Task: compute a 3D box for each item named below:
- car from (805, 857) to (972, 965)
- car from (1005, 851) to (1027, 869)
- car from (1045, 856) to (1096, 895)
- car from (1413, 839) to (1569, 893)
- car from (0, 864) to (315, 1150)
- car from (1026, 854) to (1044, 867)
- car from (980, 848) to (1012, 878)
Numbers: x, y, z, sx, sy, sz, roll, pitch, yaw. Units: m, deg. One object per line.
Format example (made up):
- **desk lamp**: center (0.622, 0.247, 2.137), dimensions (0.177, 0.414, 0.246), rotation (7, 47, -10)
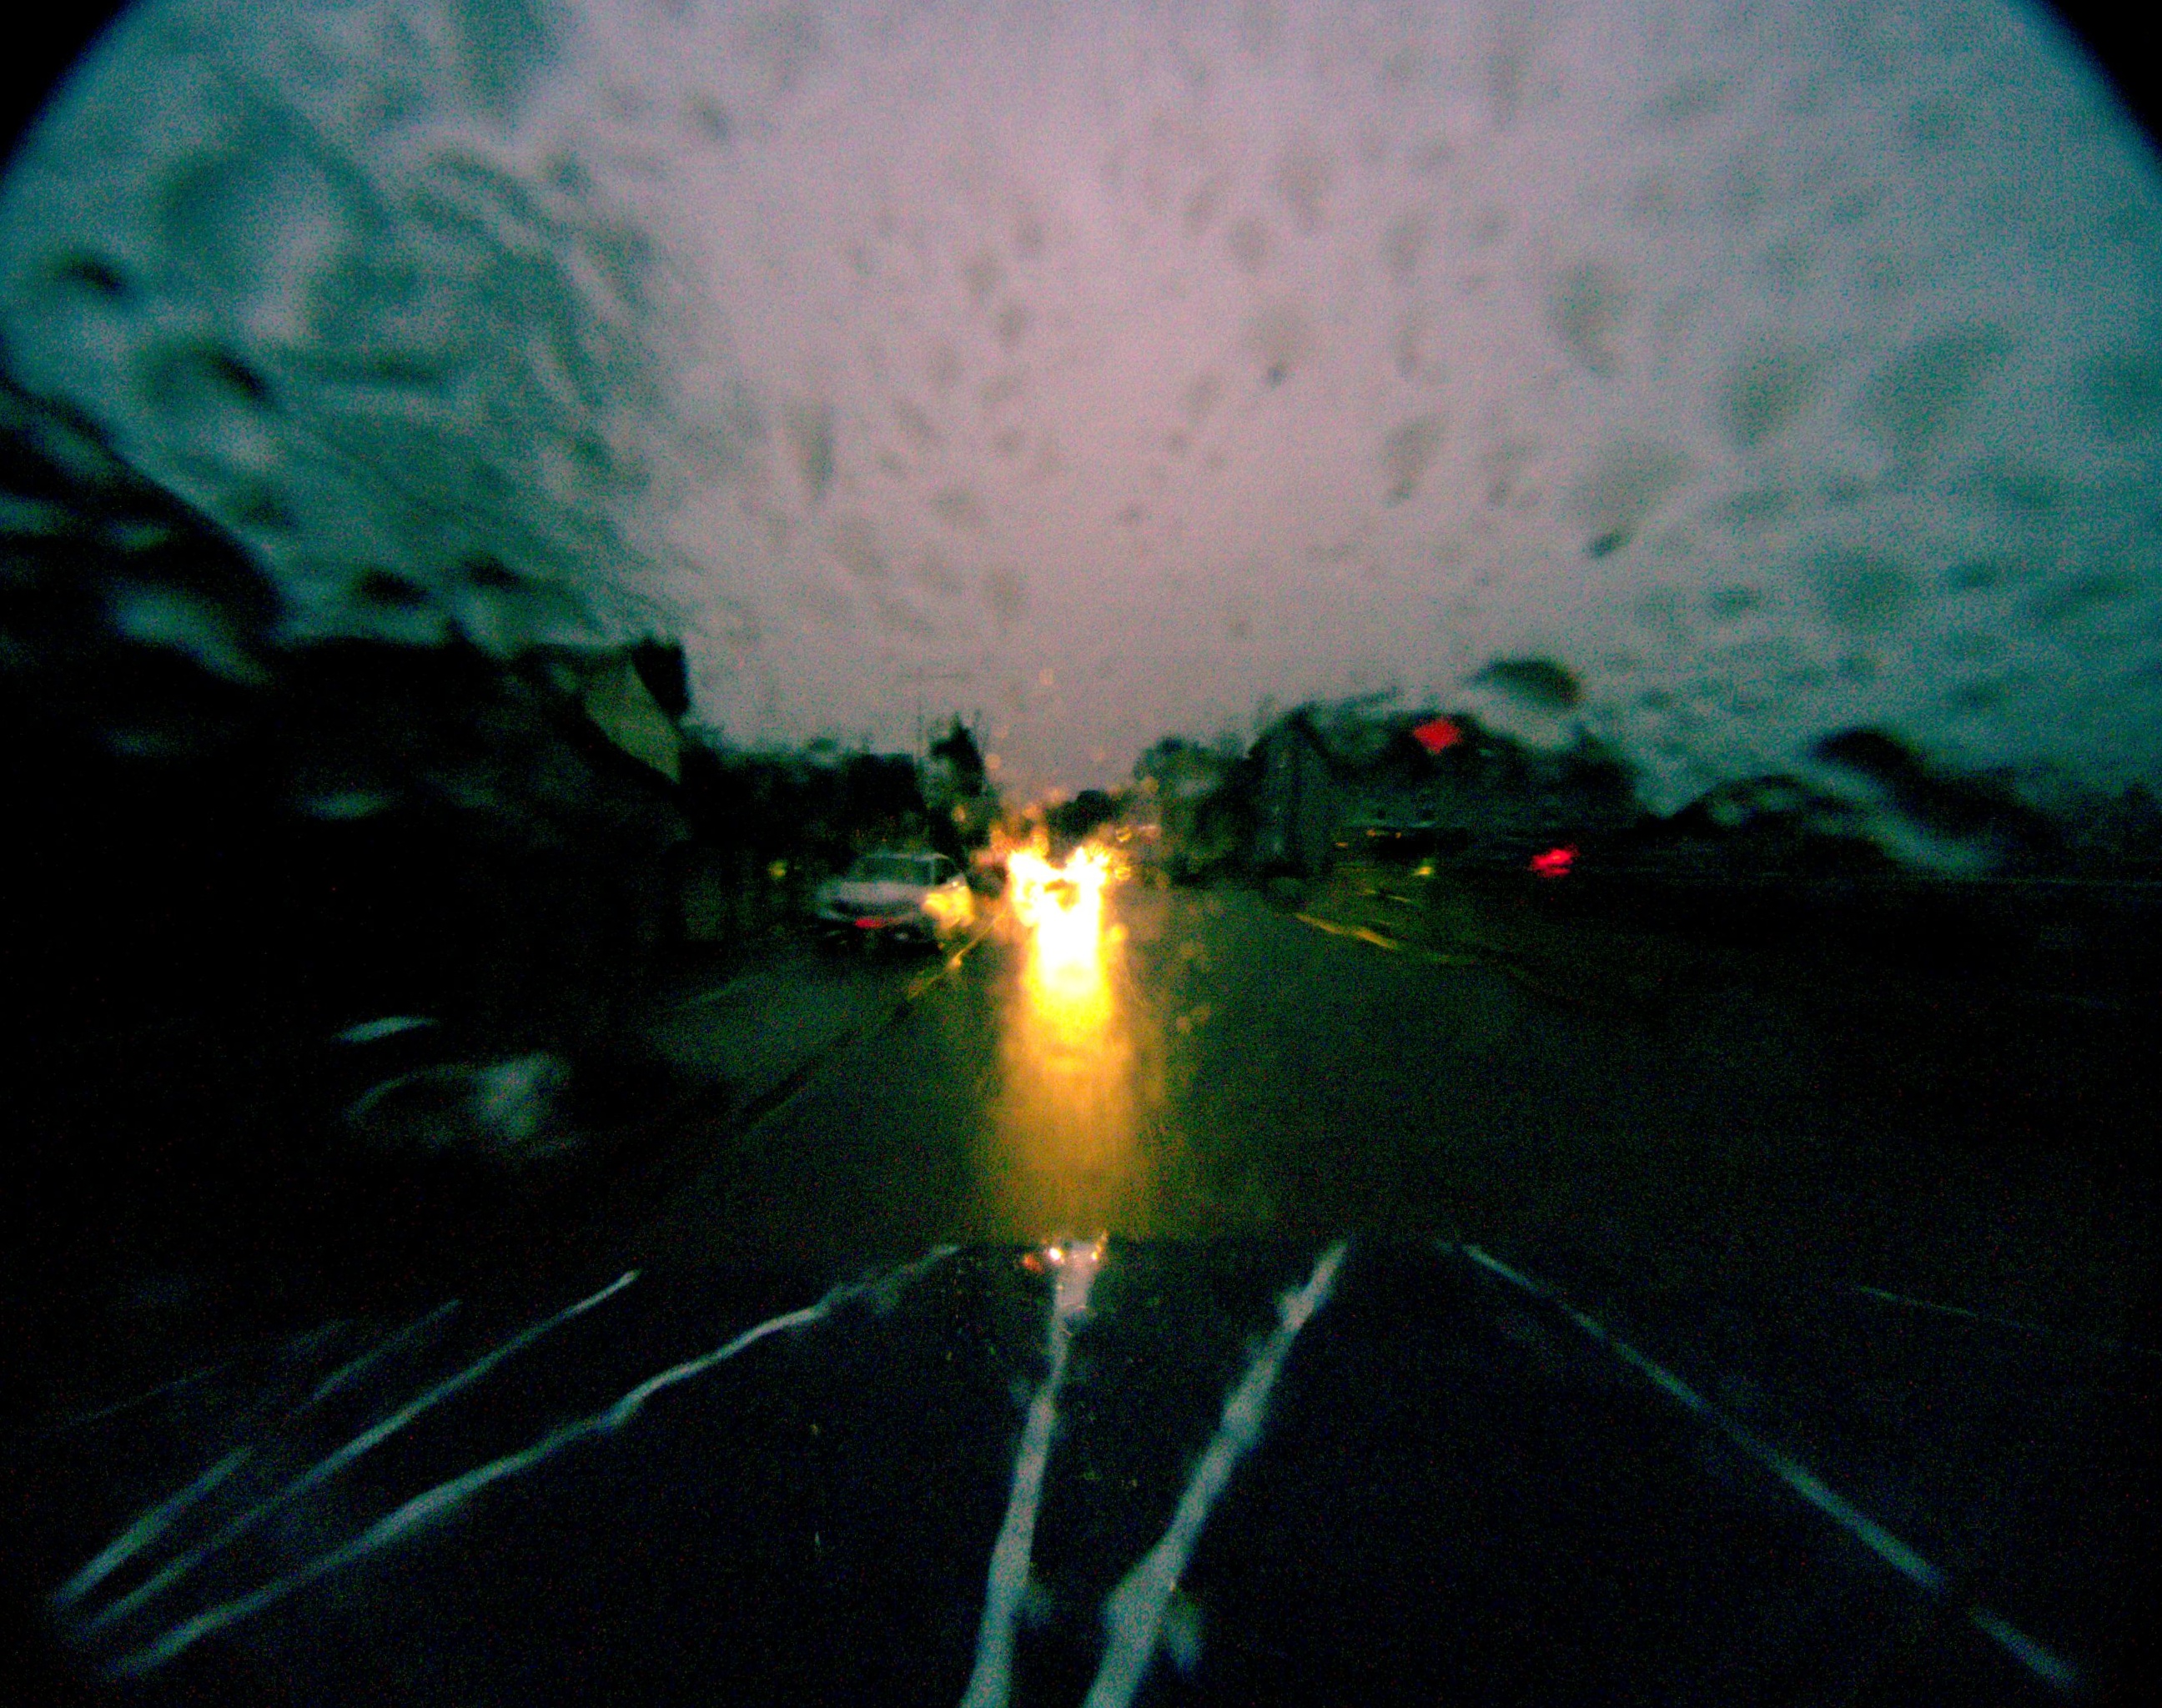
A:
- **car**: center (-3.155, 0.844, 13.359), dimensions (1.812, 1.555, 4.304), rotation (0, 0, 0)
- **car**: center (-6.305, 0.594, 74.332), dimensions (1.906, 1.630, 4.565), rotation (1, 0, -2)
- **car**: center (-0.463, 0.907, 32.533), dimensions (1.999, 1.525, 4.000), rotation (-2, -1, -2)
- **car**: center (13.887, 0.410, 26.029), dimensions (4.338, 1.611, 2.002), rotation (-2, 0, 15)
- **car**: center (-6.864, 0.864, 3.941), dimensions (1.813, 1.543, 4.301), rotation (0, 0, -8)
- **car**: center (-5.505, 0.804, 90.619), dimensions (1.827, 1.461, 4.054), rotation (1, 0, -8)
- **car**: center (-5.446, 0.554, 48.648), dimensions (1.917, 1.780, 4.563), rotation (1, 0, -7)
